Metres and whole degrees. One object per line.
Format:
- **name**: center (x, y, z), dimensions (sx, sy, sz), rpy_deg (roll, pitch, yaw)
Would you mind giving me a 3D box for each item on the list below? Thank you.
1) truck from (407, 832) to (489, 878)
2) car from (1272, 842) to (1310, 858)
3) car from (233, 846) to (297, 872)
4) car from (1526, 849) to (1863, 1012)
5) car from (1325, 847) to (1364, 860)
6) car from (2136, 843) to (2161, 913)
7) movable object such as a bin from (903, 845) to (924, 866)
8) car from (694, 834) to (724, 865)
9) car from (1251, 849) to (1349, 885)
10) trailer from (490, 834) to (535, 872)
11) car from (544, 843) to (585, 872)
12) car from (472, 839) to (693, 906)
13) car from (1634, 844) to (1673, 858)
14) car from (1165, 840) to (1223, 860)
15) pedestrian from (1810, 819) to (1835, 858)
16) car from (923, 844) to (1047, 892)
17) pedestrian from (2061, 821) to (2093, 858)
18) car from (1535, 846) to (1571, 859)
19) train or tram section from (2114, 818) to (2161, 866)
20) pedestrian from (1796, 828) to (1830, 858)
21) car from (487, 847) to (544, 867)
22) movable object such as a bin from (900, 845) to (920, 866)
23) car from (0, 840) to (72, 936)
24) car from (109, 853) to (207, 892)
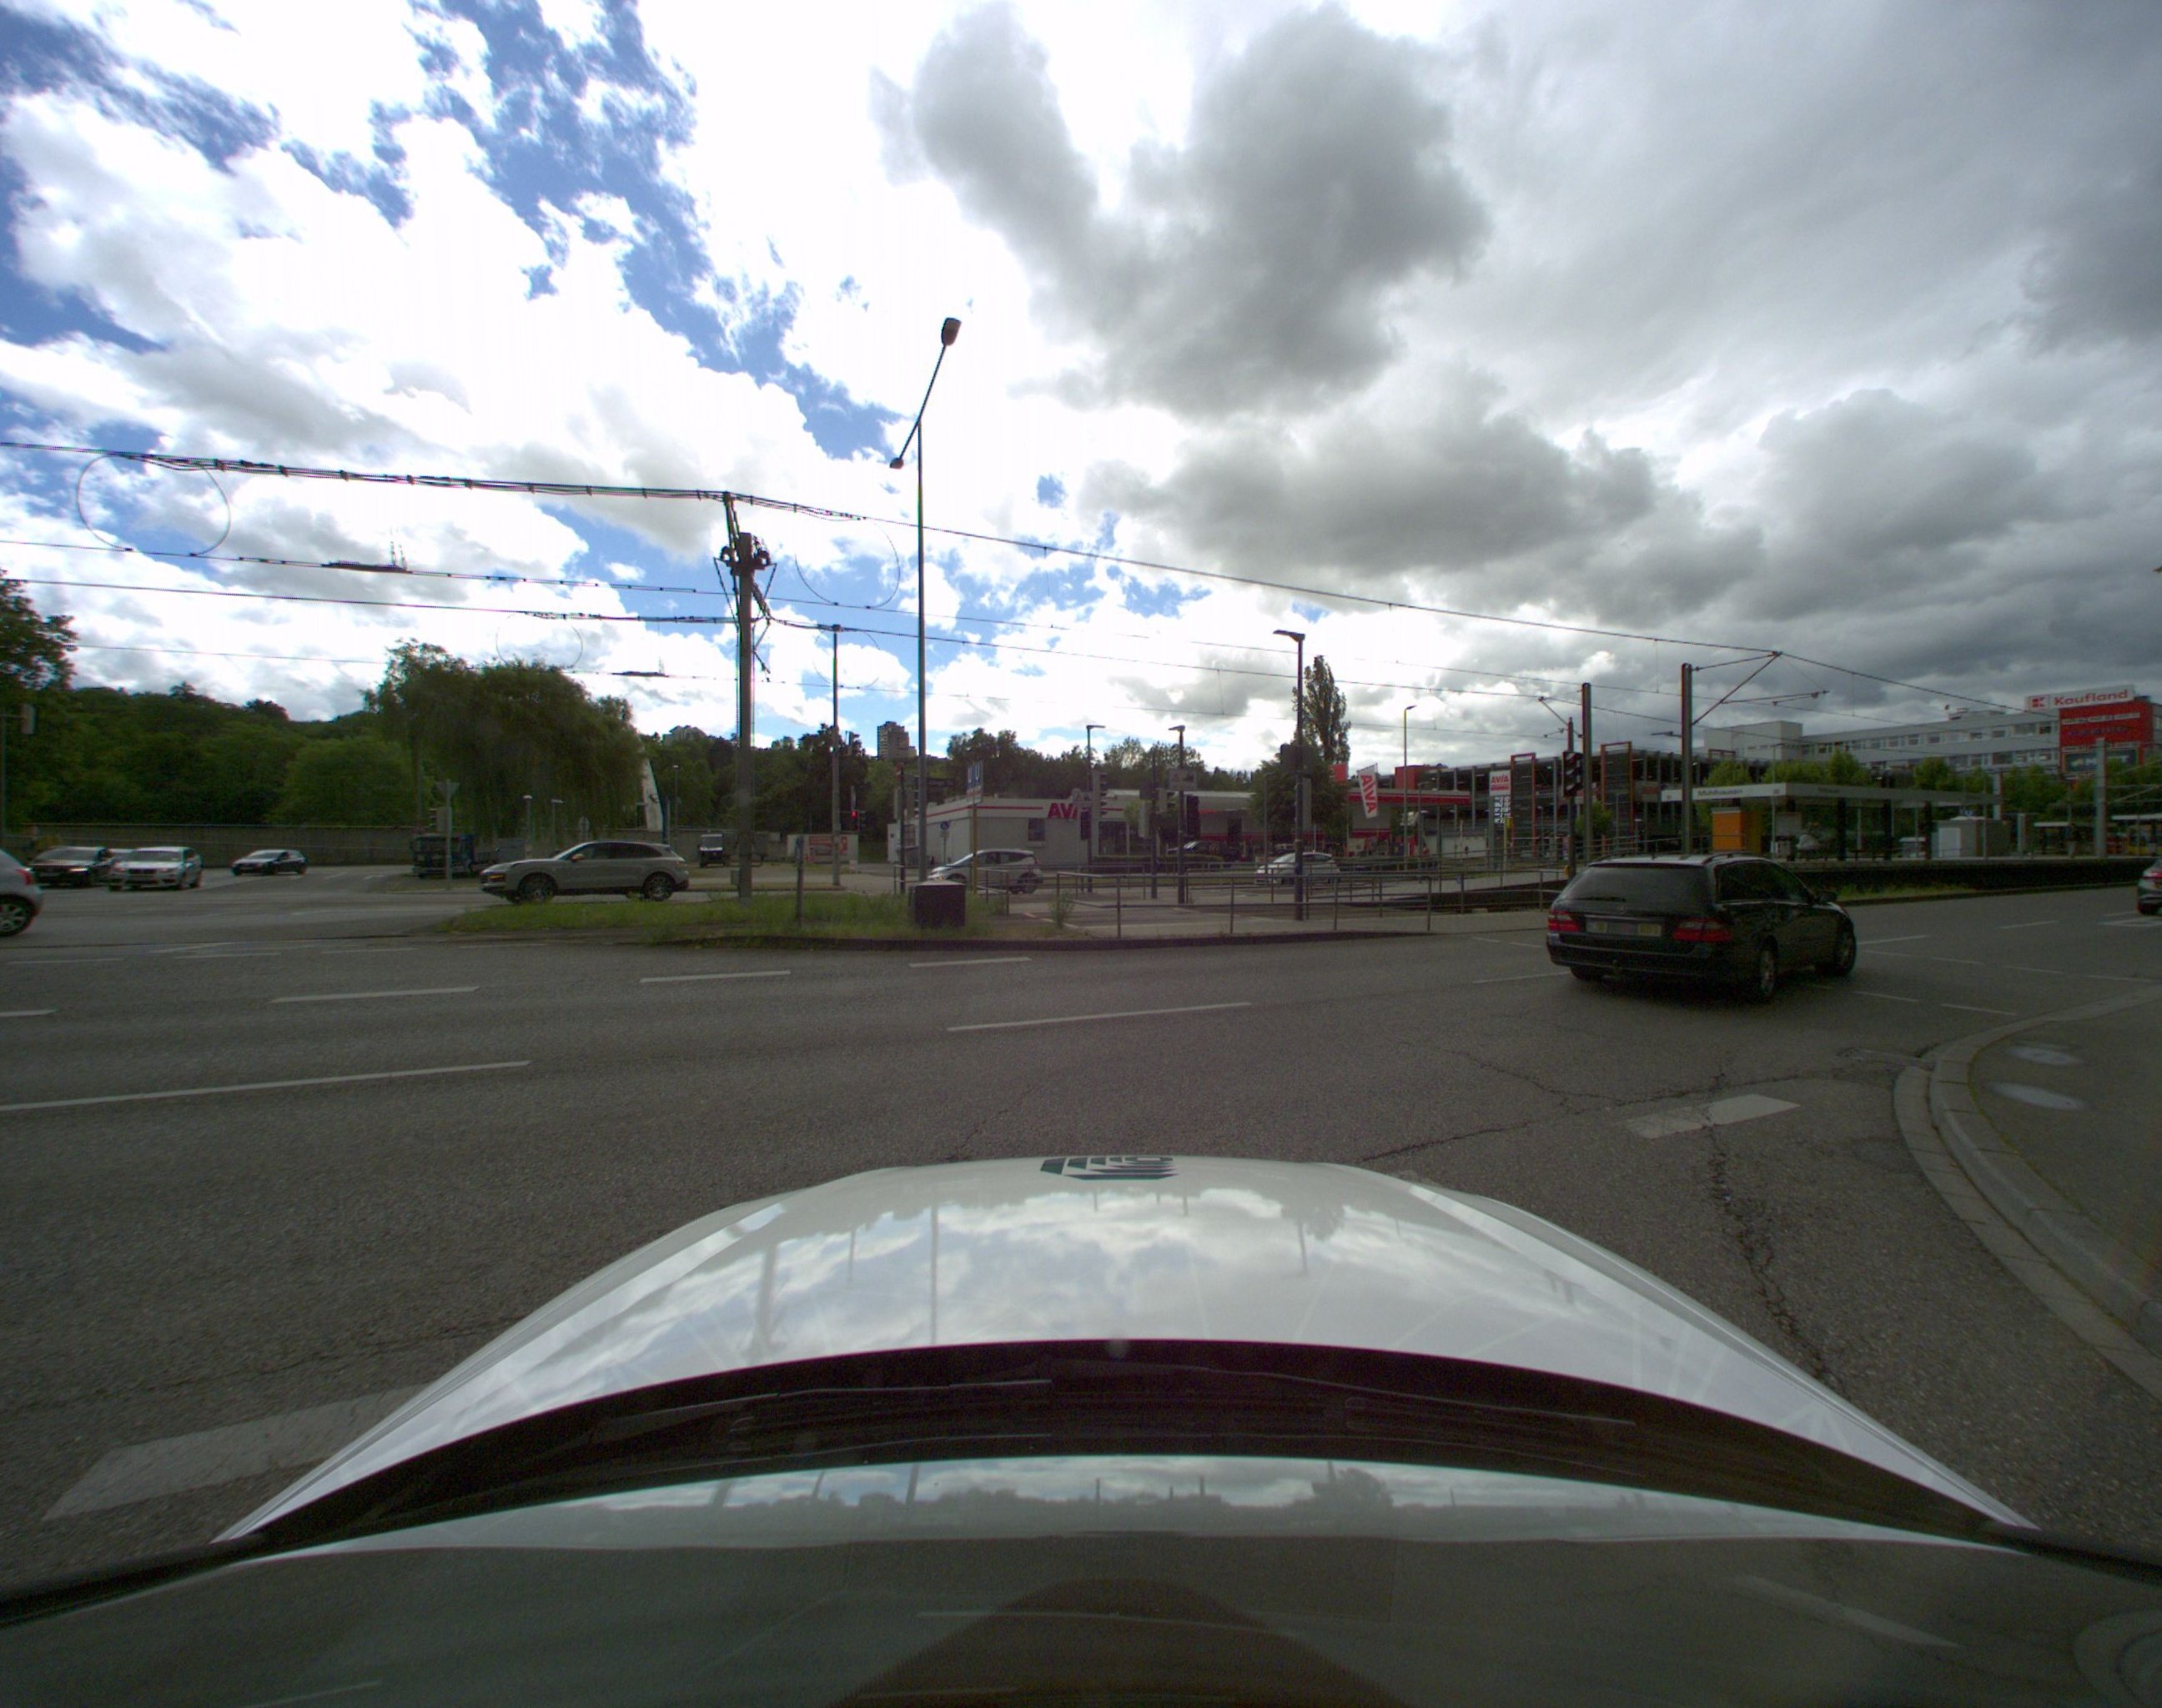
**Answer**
- **truck**: center (-36.502, 0.041, 47.165), dimensions (2.389, 2.494, 5.780), rpy_deg (0, 0, -24)
- **car**: center (24.972, -0.457, 96.782), dimensions (4.068, 1.752, 1.899), rpy_deg (0, -1, -27)
- **car**: center (-47.147, 0.266, 47.134), dimensions (1.803, 1.432, 4.239), rpy_deg (0, 0, -34)
- **car**: center (7.195, 0.679, 9.411), dimensions (4.433, 1.478, 1.820), rpy_deg (0, 0, -35)
- **car**: center (29.289, -0.056, 90.531), dimensions (4.067, 1.365, 1.899), rpy_deg (0, -1, -27)
- **car**: center (25.854, 0.527, 18.294), dimensions (4.425, 1.530, 1.815), rpy_deg (0, 1, -27)
- **movable object such as a bin**: center (-12.012, 0.117, 58.424), dimensions (1.372, 1.494, 1.097), rpy_deg (0, -1, -19)
- **car**: center (-26.391, -0.254, 57.702), dimensions (1.850, 2.052, 4.345), rpy_deg (0, -1, -26)
- **car**: center (9.164, 0.529, 34.112), dimensions (3.835, 1.454, 1.619), rpy_deg (0, 0, -25)
- **trailer**: center (-34.947, -0.025, 50.172), dimensions (1.563, 2.258, 4.355), rpy_deg (0, -1, -25)
- **car**: center (-31.841, 0.214, 50.328), dimensions (1.759, 1.743, 3.824), rpy_deg (0, 0, -27)
- **car**: center (-13.406, 0.445, 22.148), dimensions (1.656, 1.642, 4.883), rpy_deg (0, 0, 45)
- **car**: center (62.924, -0.313, 89.564), dimensions (4.007, 1.539, 1.767), rpy_deg (0, -1, -26)
- **car**: center (7.800, -0.271, 56.182), dimensions (3.640, 1.350, 1.605), rpy_deg (0, 0, -24)
- **pedestrian**: center (31.860, -0.657, 34.996), dimensions (0.587, 1.620, 0.567), rpy_deg (0, -2, -26)
- **car**: center (-3.421, 0.471, 29.021), dimensions (4.127, 1.641, 1.737), rpy_deg (0, 0, -23)
- **pedestrian**: center (47.697, -0.673, 38.984), dimensions (0.938, 1.744, 0.745), rpy_deg (0, -2, -26)
- **car**: center (50.795, -0.130, 87.649), dimensions (3.566, 1.415, 1.707), rpy_deg (0, -1, -25)
- **train or tram section**: center (95.130, -1.139, 70.609), dimensions (18.662, 3.882, 2.743), rpy_deg (-1, 0, -25)
- **pedestrian**: center (29.617, -0.454, 32.952), dimensions (0.728, 1.189, 0.766), rpy_deg (0, 0, -22)
- **car**: center (-45.220, 0.280, 65.118), dimensions (3.658, 1.554, 1.708), rpy_deg (1, -2, -38)
- **movable object such as a bin**: center (-12.561, 0.123, 59.773), dimensions (1.372, 1.484, 1.097), rpy_deg (0, -1, -19)
- **car**: center (-17.828, 0.527, 11.709), dimensions (1.659, 1.487, 3.804), rpy_deg (0, 0, 15)
- **car**: center (-37.121, 0.690, 32.874), dimensions (1.805, 1.432, 4.368), rpy_deg (0, 0, -38)
